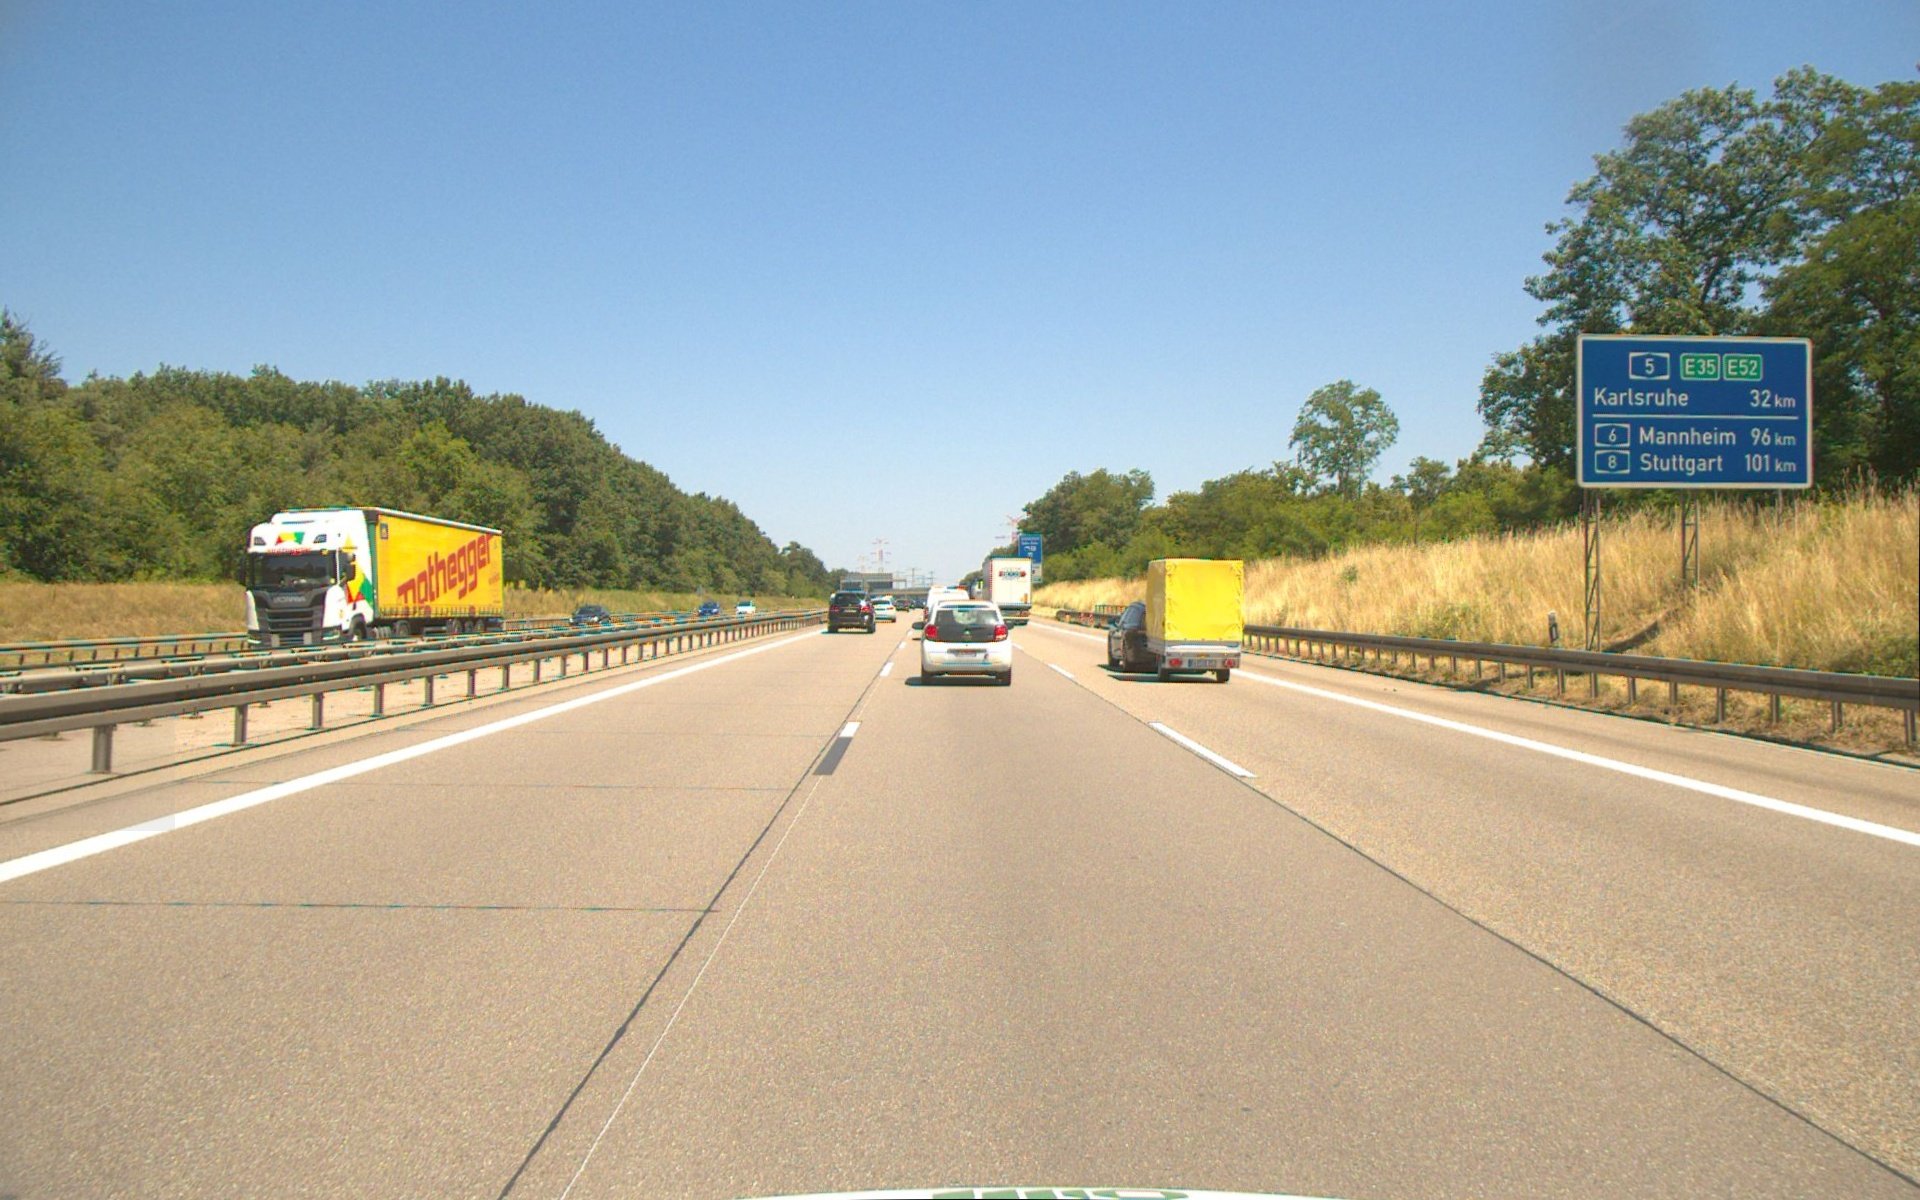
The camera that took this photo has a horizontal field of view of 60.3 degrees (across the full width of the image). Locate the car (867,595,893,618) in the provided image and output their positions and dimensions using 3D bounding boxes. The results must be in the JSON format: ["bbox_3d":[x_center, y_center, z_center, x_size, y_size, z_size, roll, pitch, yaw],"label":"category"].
[{"bbox_3d":[-5.042,0.407,104.351,1.635,1.426,3.711,0,0,-2],"label":"car"}]

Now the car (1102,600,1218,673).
[{"bbox_3d":[4.311,0.752,36.347,1.784,1.481,4.786,1,0,-2],"label":"car"}]

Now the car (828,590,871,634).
[{"bbox_3d":[-4.626,0.477,69.616,1.593,1.785,3.804,1,0,-1],"label":"car"}]

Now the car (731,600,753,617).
[{"bbox_3d":[-23.556,0.940,178.637,1.667,1.690,5.115,-3,0,-1],"label":"car"}]

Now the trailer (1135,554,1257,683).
[{"bbox_3d":[4.511,0.336,32.039,1.669,2.330,3.838,1,0,-2],"label":"trailer"}]

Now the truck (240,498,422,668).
[{"bbox_3d":[-16.778,-0.447,44.563,2.414,4.143,6.285,-3,0,-1],"label":"truck"}]

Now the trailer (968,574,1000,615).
[{"bbox_3d":[2.358,-0.527,167.199,2.628,3.904,12.006,1,0,-1],"label":"trailer"}]

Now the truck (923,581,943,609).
[{"bbox_3d":[-2.862,-0.505,173.959,2.018,2.965,7.001,0,0,-1],"label":"truck"}]

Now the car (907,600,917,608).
[{"bbox_3d":[-6.943,0.611,239.912,1.377,1.151,3.357,1,0,-1],"label":"car"}]

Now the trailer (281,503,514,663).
[{"bbox_3d":[-16.918,-0.479,51.221,2.414,4.143,14.275,-3,0,-1],"label":"trailer"}]

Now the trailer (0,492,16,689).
[{"bbox_3d":[-20.763,-0.124,28.549,2.572,4.017,11.155,-3,0,-1],"label":"trailer"}]

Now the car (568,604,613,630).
[{"bbox_3d":[-22.213,1.023,99.477,1.641,1.389,4.888,-3,0,-1],"label":"car"}]

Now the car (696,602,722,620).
[{"bbox_3d":[-22.755,0.979,150.167,1.667,1.572,4.534,-3,0,-1],"label":"car"}]

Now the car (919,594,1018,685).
[{"bbox_3d":[0.109,0.673,30.130,1.673,1.521,4.023,1,0,-1],"label":"car"}]

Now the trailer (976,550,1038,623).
[{"bbox_3d":[2.868,-0.748,105.582,3.219,4.293,13.560,1,0,-1],"label":"trailer"}]

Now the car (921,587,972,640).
[{"bbox_3d":[-0.530,0.478,61.066,1.777,1.859,5.109,0,0,-1],"label":"car"}]

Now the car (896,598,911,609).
[{"bbox_3d":[-6.526,0.409,191.081,1.574,1.323,3.673,1,0,-1],"label":"car"}]
